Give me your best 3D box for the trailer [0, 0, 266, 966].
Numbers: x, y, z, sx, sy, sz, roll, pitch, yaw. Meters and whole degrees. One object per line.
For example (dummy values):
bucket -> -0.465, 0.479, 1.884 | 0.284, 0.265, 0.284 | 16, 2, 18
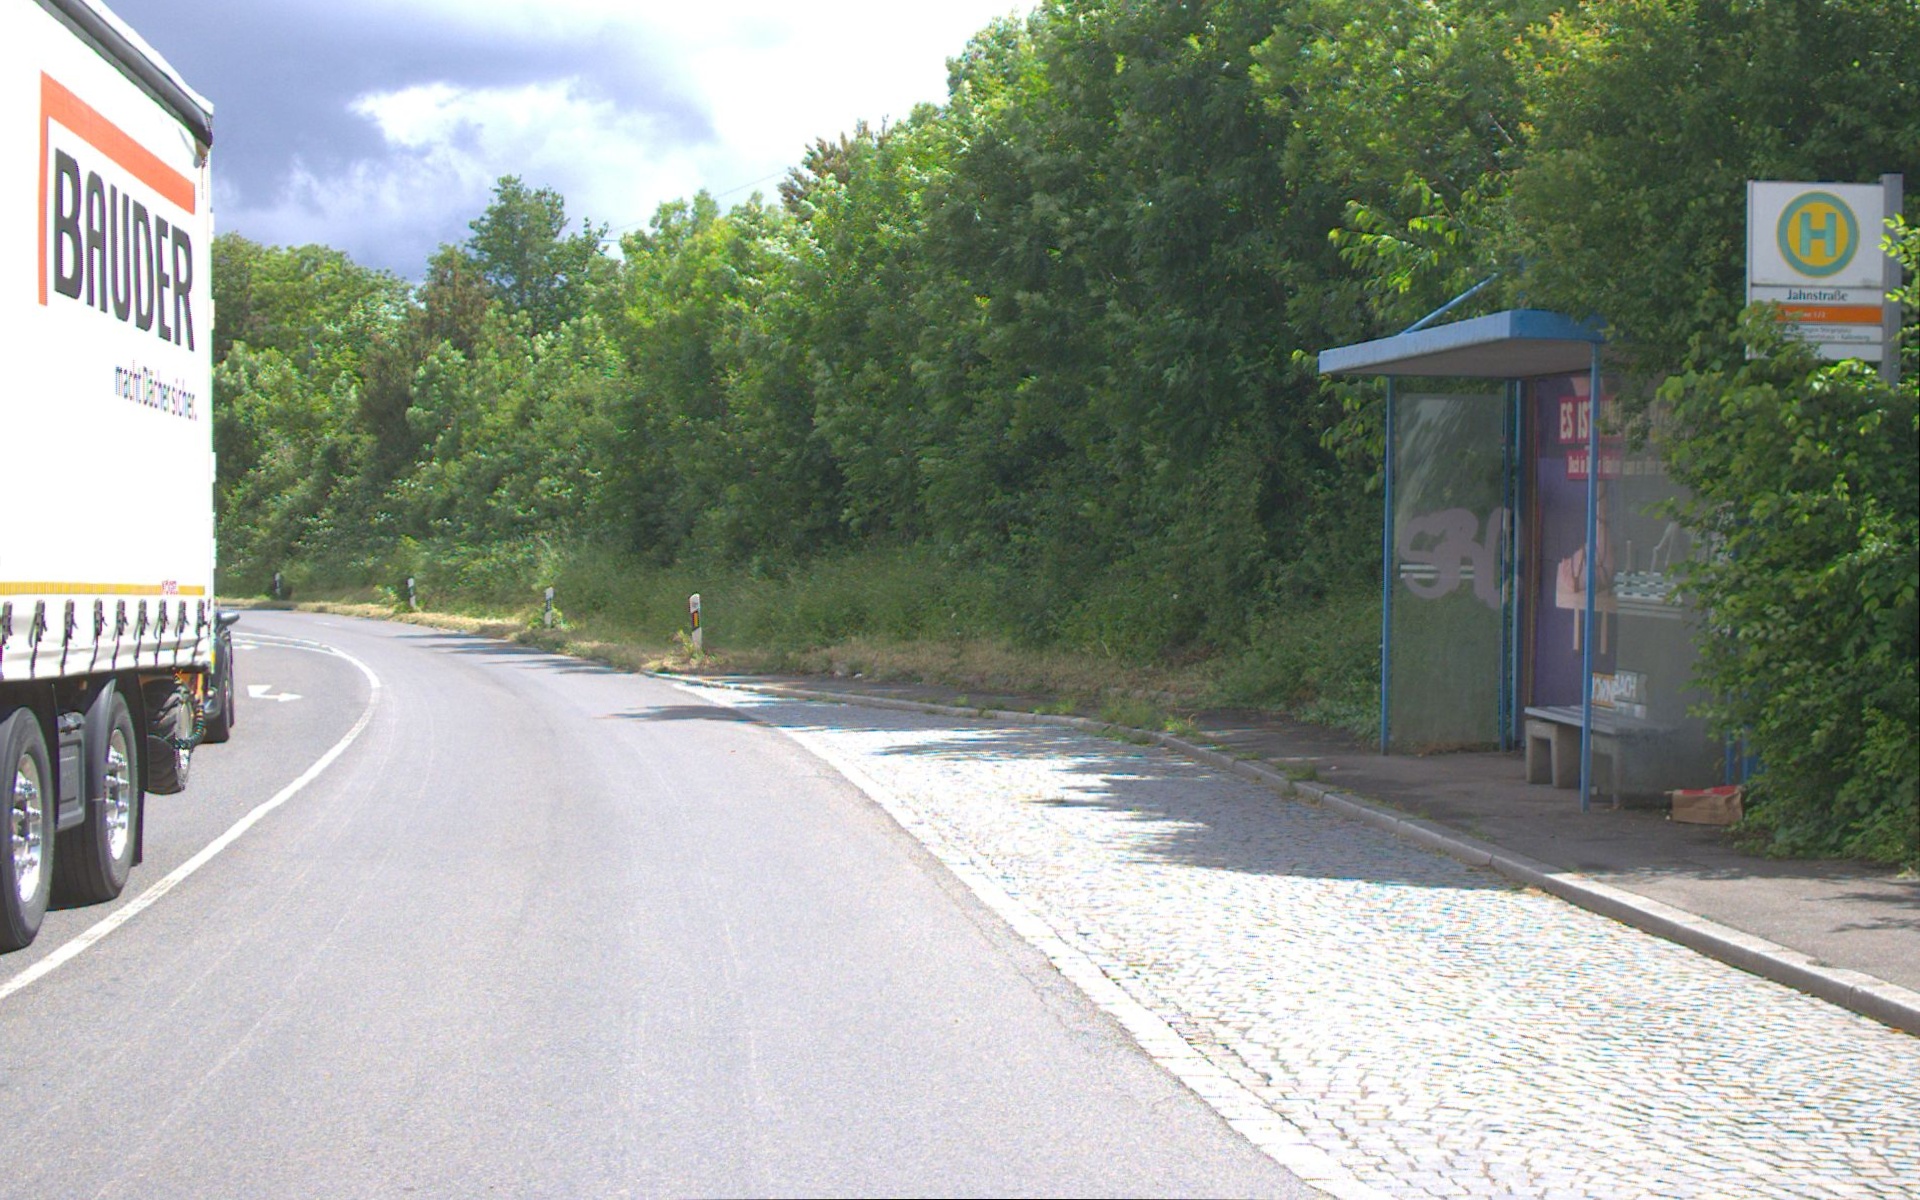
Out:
trailer -> -4.855, -0.721, 11.763 | 2.771, 4.130, 15.353 | 1, 0, -4

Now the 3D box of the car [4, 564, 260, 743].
car -> -7.293, 0.421, 30.638 | 1.839, 1.458, 4.254 | -1, 1, -9
